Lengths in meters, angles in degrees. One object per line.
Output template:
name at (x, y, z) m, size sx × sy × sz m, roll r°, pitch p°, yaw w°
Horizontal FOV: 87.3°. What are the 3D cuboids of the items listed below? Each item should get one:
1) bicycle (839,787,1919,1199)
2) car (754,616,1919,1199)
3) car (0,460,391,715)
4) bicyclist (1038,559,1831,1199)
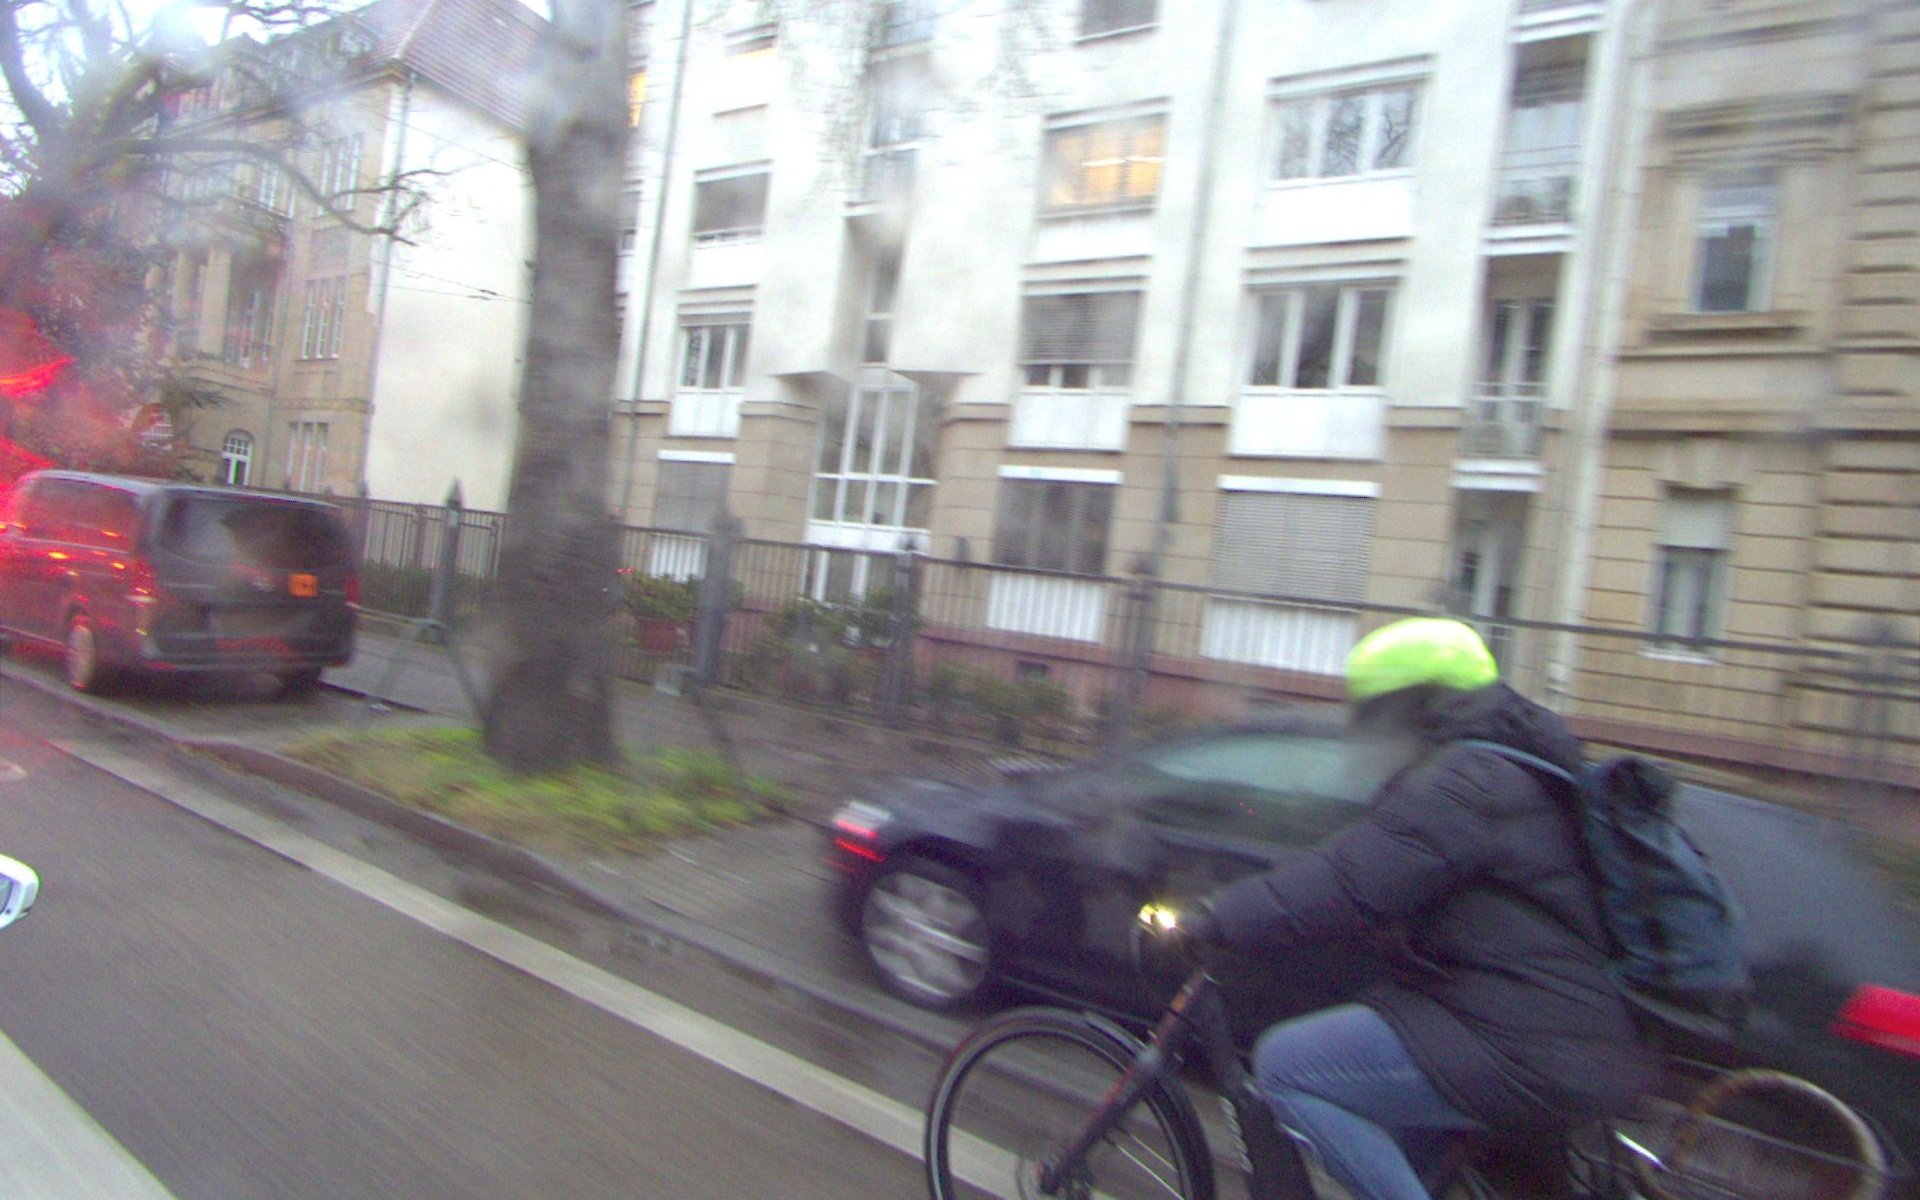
bicycle at (0.785, 1.136, 1.951) m, size 1.907 × 1.125 × 0.719 m, roll 8°, pitch -2°, yaw 27°
car at (1.350, 1.078, 4.180) m, size 4.087 × 1.464 × 1.759 m, roll 8°, pitch 2°, yaw 30°
car at (-8.099, -0.231, 9.981) m, size 4.881 × 1.899 × 2.033 m, roll 7°, pitch 0°, yaw 31°
bicyclist at (0.813, 0.854, 1.965) m, size 1.038 × 1.681 × 0.719 m, roll 8°, pitch -2°, yaw 27°
